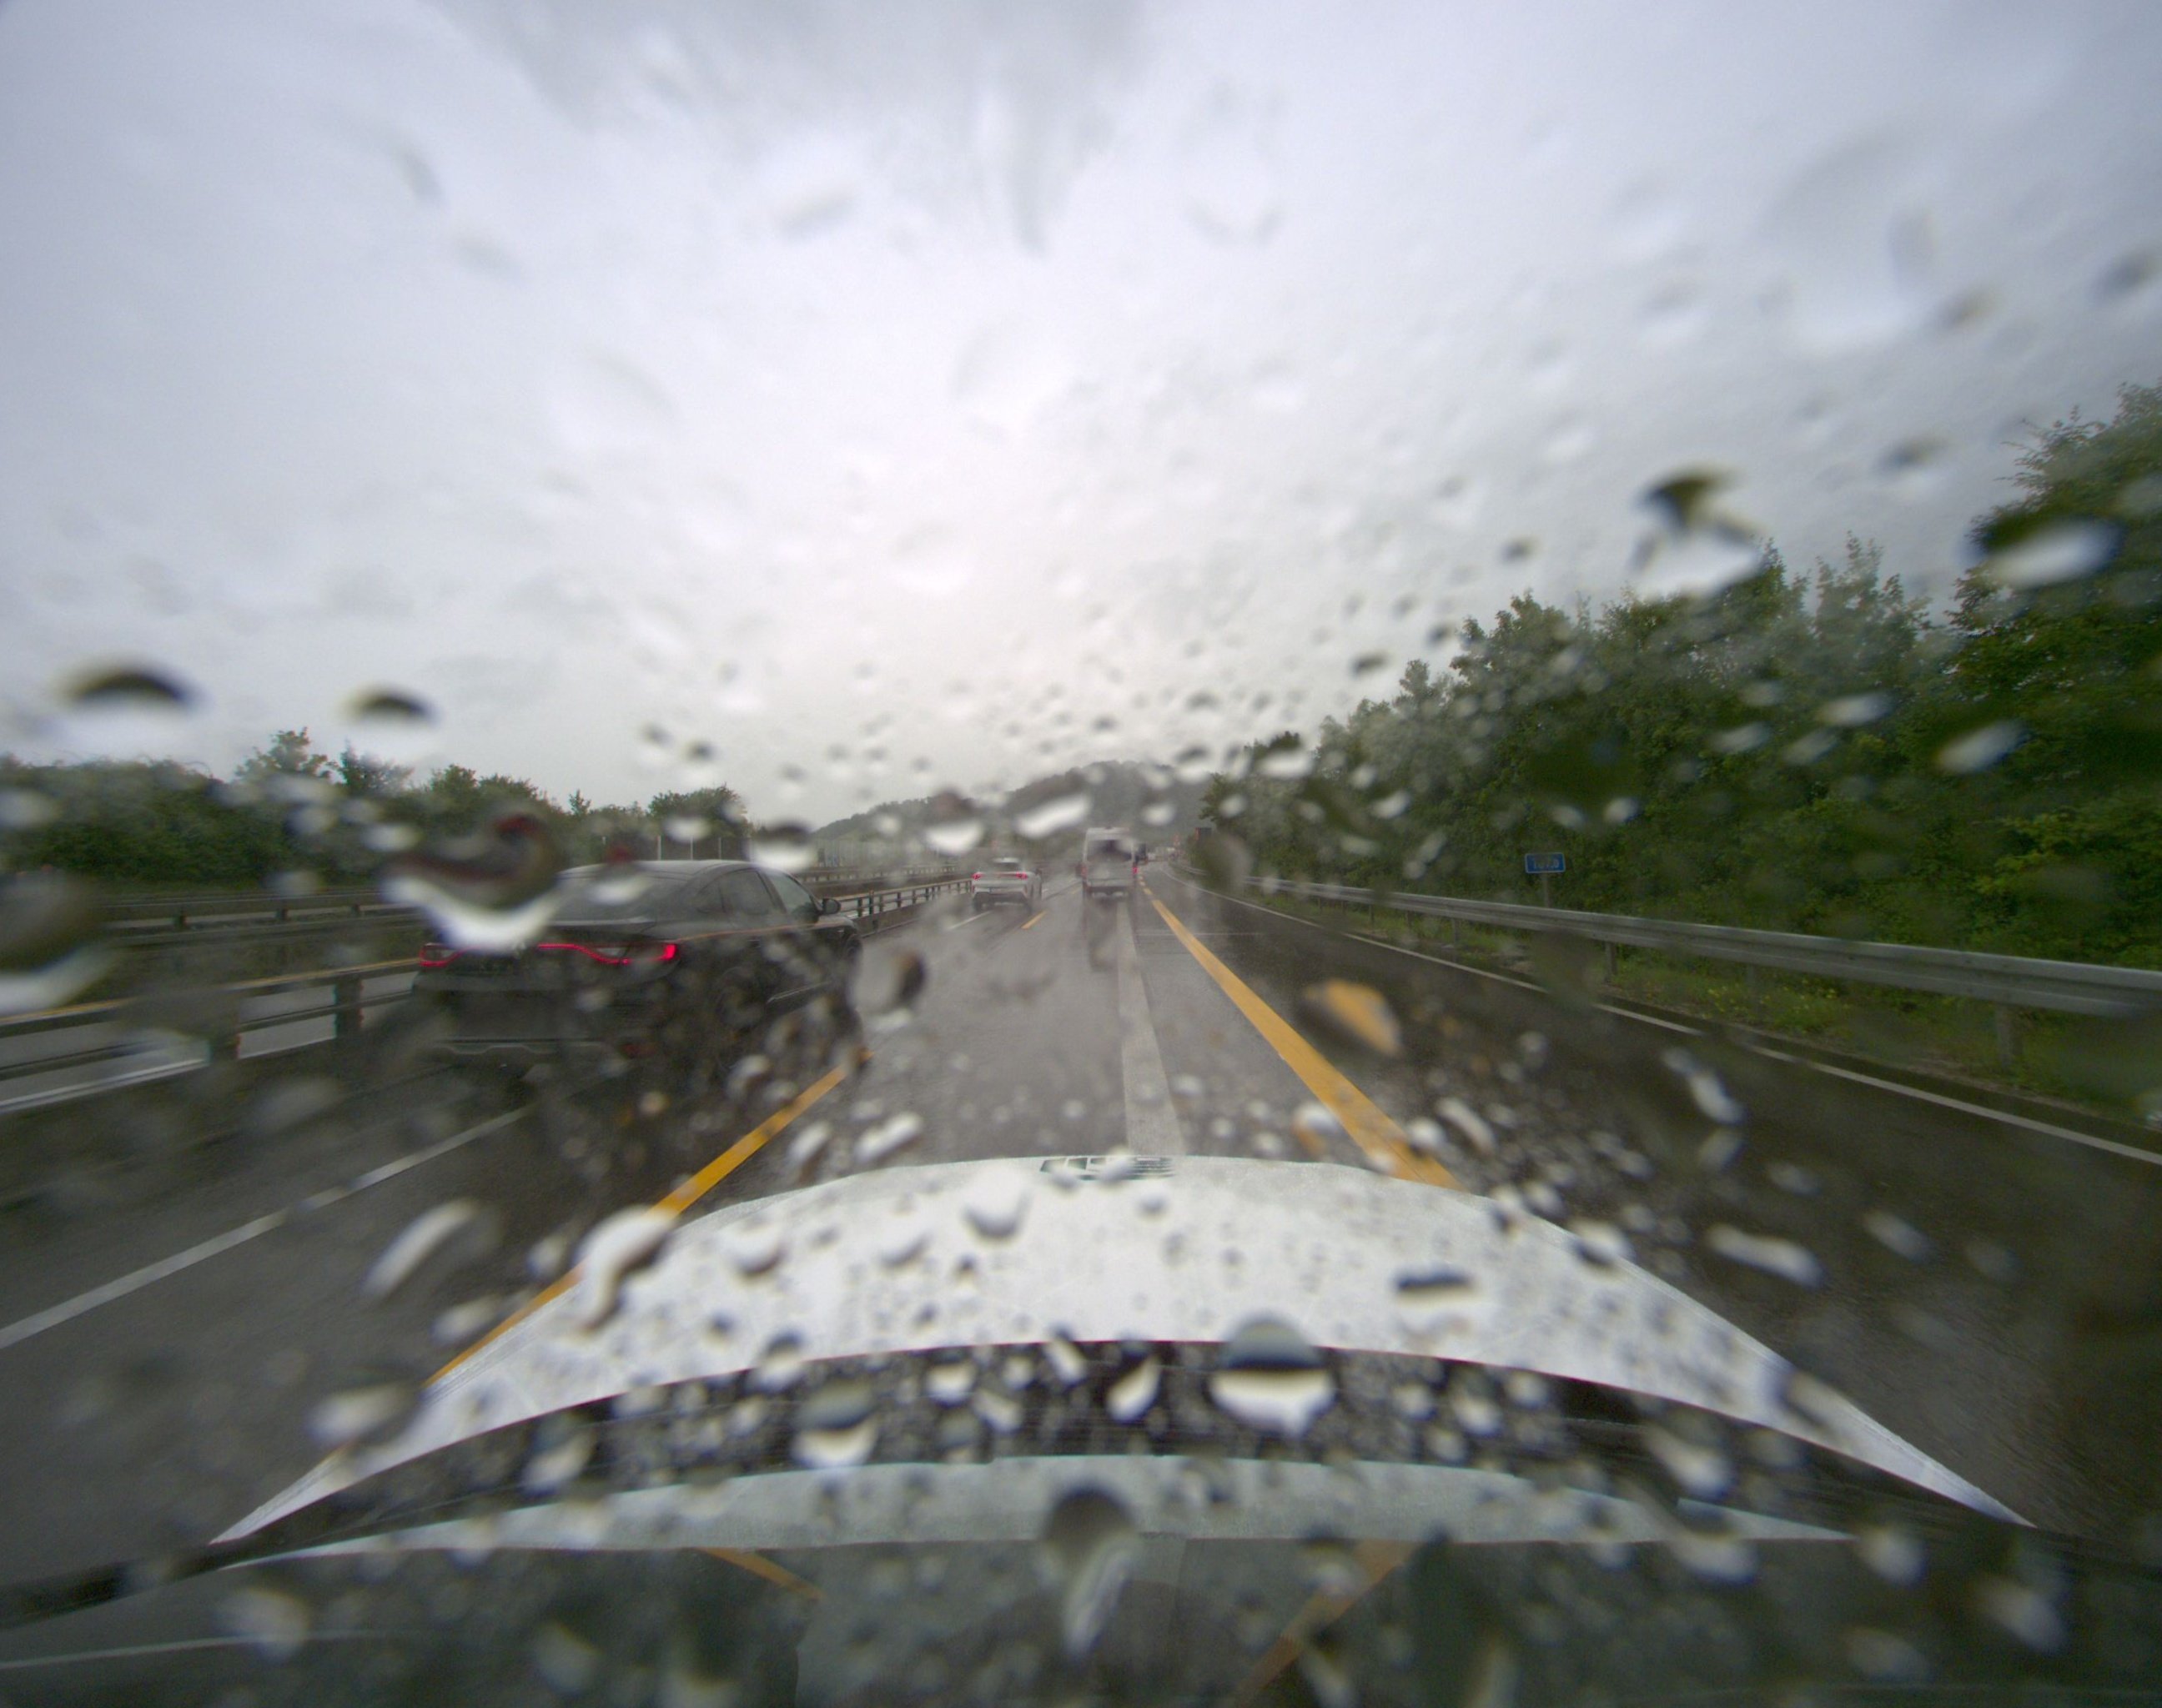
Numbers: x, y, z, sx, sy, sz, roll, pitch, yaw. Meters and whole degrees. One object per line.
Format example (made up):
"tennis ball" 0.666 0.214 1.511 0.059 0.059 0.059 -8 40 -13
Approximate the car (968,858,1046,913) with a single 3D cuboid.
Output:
"car" -2.252 0.942 26.054 1.987 1.617 4.796 0 -1 1

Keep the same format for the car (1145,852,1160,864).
"car" 17.161 1.035 195.245 2.881 2.887 6.428 0 -1 9

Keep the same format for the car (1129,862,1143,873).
"car" 7.331 1.804 108.910 1.765 1.475 4.006 0 -1 6

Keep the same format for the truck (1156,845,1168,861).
"truck" 23.033 -0.220 230.960 3.018 4.406 9.646 0 -1 9

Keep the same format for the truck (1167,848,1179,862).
"truck" 29.680 0.394 263.145 2.879 4.406 9.654 0 -1 12

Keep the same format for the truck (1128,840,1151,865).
"truck" 10.754 -0.194 148.904 3.562 4.406 9.642 0 -1 7

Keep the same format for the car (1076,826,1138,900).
"car" 0.942 0.349 30.837 2.137 2.571 5.390 0 -1 1

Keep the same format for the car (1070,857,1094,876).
"car" 0.123 1.076 69.409 1.939 1.561 4.001 0 -1 1

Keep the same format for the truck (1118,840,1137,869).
"truck" 5.156 0.093 89.187 1.984 3.109 8.507 0 -1 4

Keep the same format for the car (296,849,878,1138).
"car" -3.267 0.789 6.689 1.986 1.585 4.414 0 -1 1
